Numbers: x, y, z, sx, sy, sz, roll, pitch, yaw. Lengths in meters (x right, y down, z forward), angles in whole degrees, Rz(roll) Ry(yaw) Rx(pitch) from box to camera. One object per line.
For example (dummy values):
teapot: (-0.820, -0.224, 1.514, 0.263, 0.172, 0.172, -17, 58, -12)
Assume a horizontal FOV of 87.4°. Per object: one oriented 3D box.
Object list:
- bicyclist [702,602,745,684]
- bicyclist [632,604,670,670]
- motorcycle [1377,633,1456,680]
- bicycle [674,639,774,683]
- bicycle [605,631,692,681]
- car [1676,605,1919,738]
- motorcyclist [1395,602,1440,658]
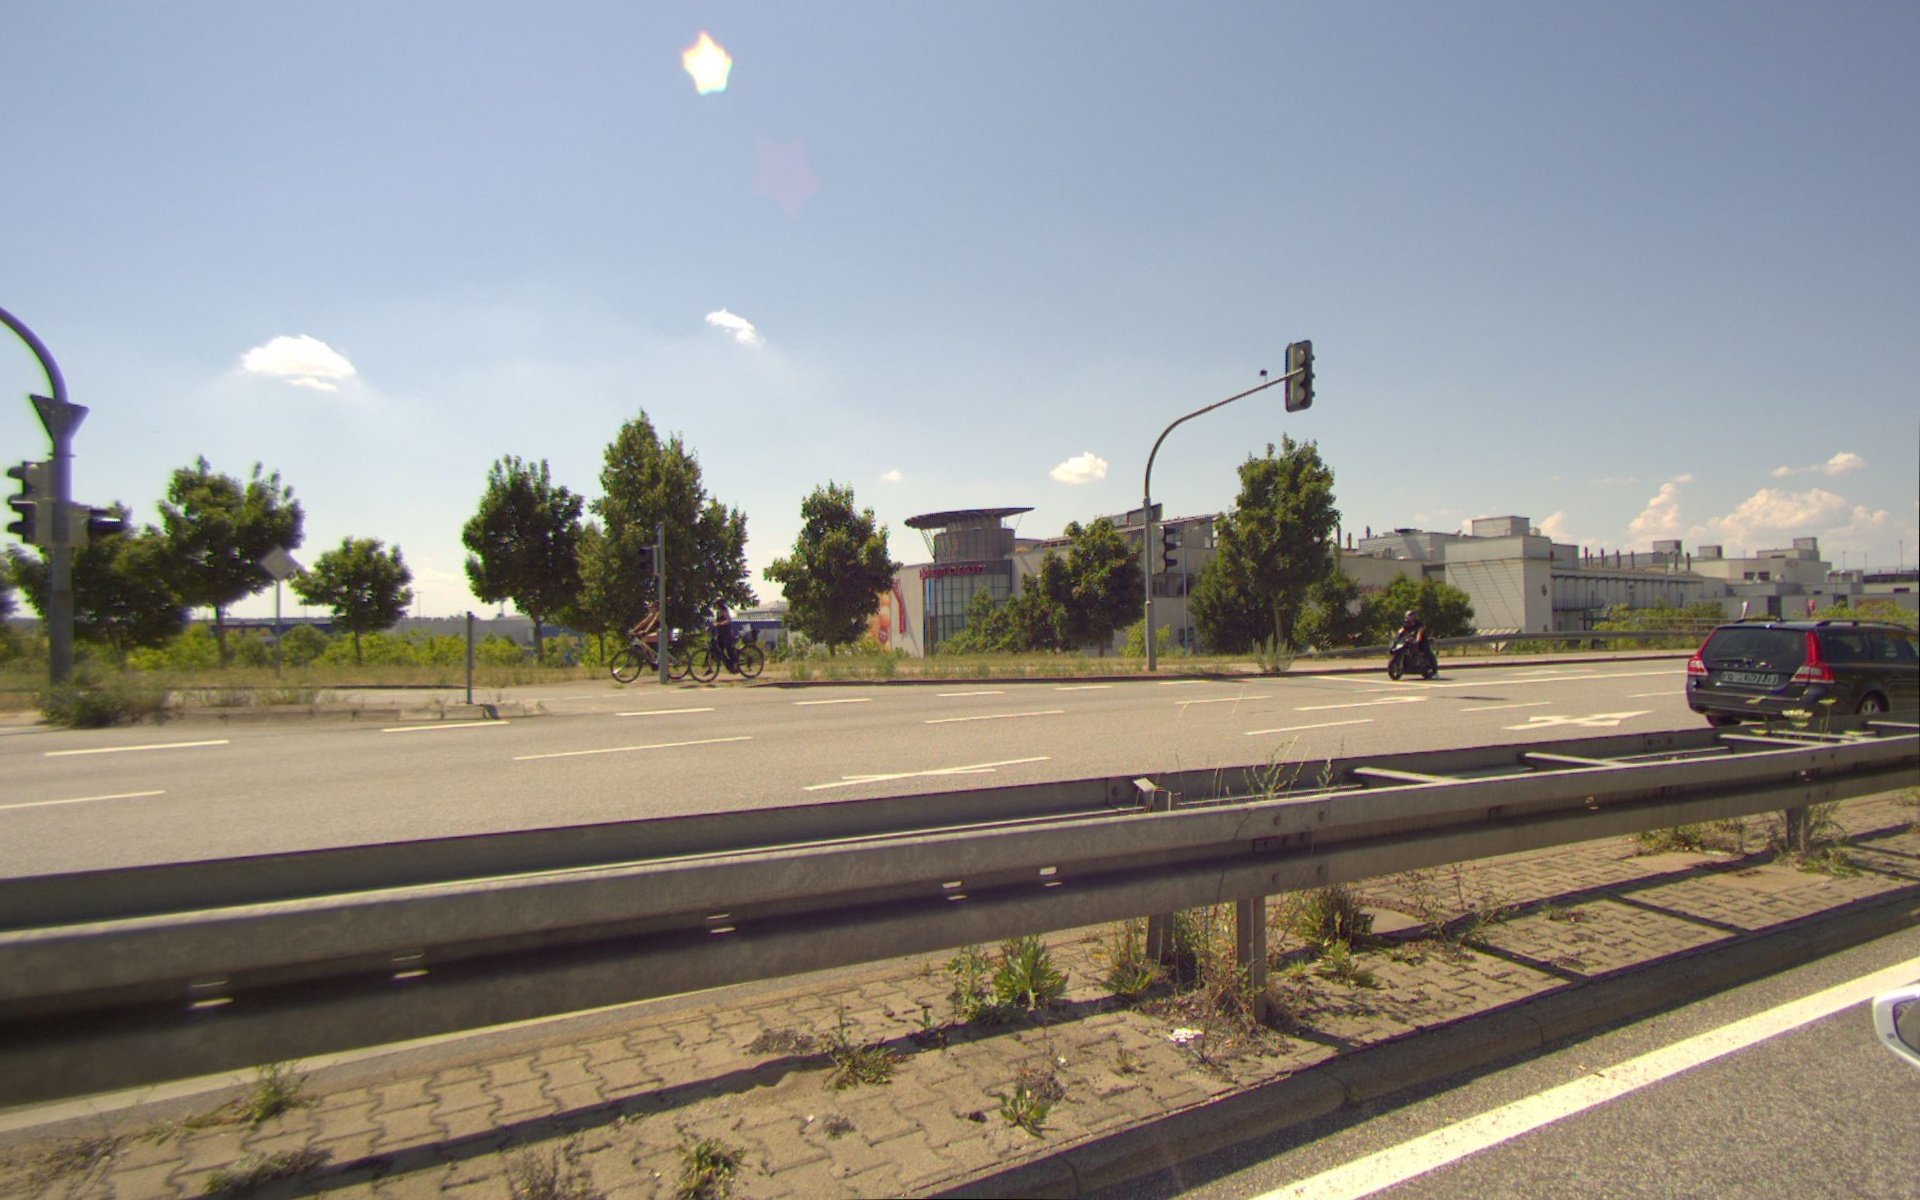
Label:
bicyclist: (-5.094, 0.916, 21.649, 0.725, 1.740, 0.525, 1, 0, -44)
bicyclist: (-6.805, 0.805, 22.121, 0.680, 1.423, 0.403, 2, -1, -43)
motorcycle: (11.022, 1.345, 24.234, 2.259, 1.094, 0.559, 1, -3, -32)
bicycle: (-5.068, 1.293, 21.675, 2.112, 0.864, 0.528, 1, 0, -44)
bicycle: (-6.830, 1.205, 22.103, 1.819, 1.038, 0.410, 1, 0, -43)
car: (12.039, 0.908, 13.514, 4.666, 1.566, 1.728, 1, -2, -23)
motorcyclist: (11.075, 0.737, 24.309, 0.715, 1.320, 0.671, 1, -3, -32)
